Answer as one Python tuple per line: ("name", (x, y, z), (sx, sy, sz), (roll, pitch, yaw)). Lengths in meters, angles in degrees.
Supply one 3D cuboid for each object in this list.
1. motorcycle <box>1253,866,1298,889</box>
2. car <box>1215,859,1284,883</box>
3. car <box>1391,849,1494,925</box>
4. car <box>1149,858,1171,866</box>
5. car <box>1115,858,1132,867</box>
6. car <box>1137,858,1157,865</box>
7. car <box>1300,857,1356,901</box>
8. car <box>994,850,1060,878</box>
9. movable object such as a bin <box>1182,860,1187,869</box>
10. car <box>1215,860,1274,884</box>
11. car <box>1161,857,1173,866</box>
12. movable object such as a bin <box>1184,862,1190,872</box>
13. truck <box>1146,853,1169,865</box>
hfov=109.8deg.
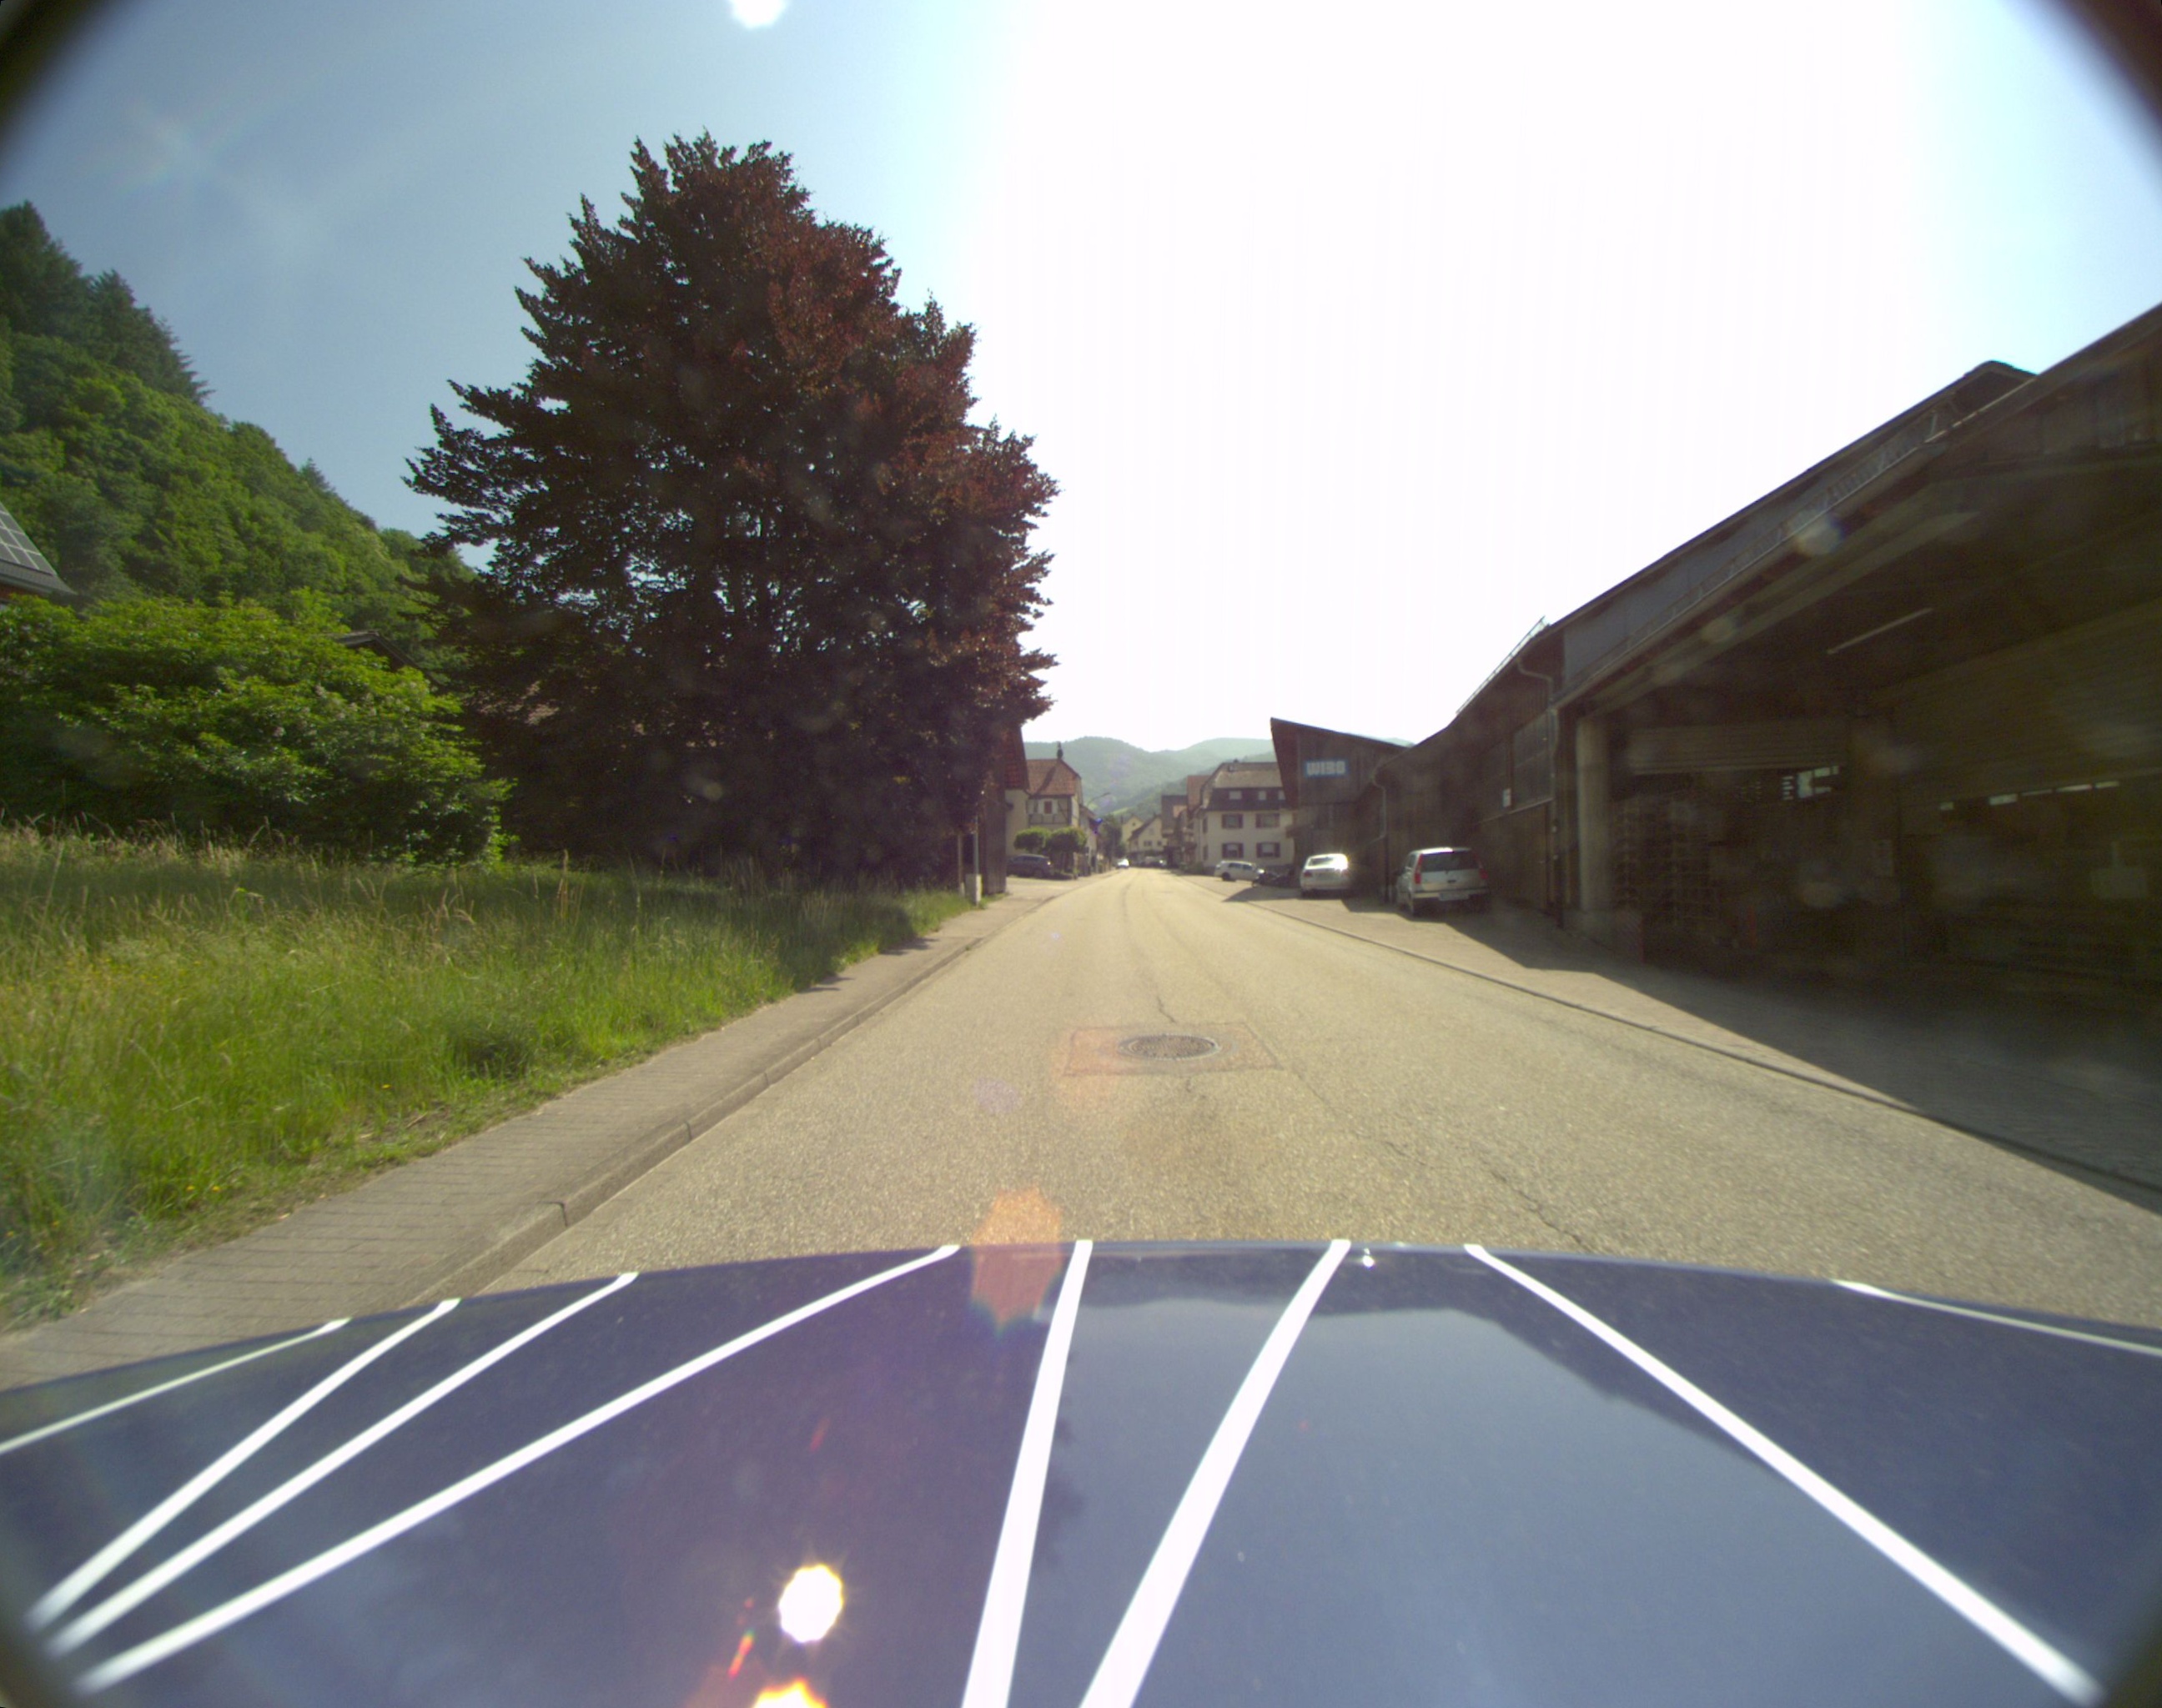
("motorcycle", (10.675, 1.286, 41.739), (2.412, 1.257, 0.744), (0, 0, 15))
("car", (12.183, 1.199, 55.070), (4.430, 1.466, 1.929), (3, 1, 31))
("car", (8.673, 0.738, 18.531), (1.583, 1.560, 4.028), (-4, -1, 17))
("car", (15.057, 1.467, 145.021), (4.104, 1.494, 1.754), (0, 0, 3))
("car", (7.571, 1.533, 136.077), (2.001, 1.672, 3.996), (0, 0, -12))
("car", (13.615, 1.553, 157.089), (3.995, 1.563, 1.578), (1, 0, 7))
("car", (8.955, 0.865, 27.450), (1.731, 1.445, 4.812), (-1, -1, 19))
("car", (-3.746, 0.678, 53.134), (4.228, 1.677, 1.778), (4, 1, 9))
("movable object such as a bin", (14.224, 1.413, 104.600), (0.719, 1.174, 0.598), (1, 0, 6))
("car", (11.289, 1.195, 52.357), (3.662, 1.377, 1.713), (3, 1, 20))
("car", (15.576, 1.357, 137.661), (1.774, 1.544, 4.286), (-2, 0, 2))
("movable object such as a bin", (11.826, 1.451, 84.780), (0.677, 1.060, 0.621), (0, 0, 3))
("truck", (15.139, 1.076, 150.048), (4.176, 2.253, 2.000), (-2, 0, 0))
